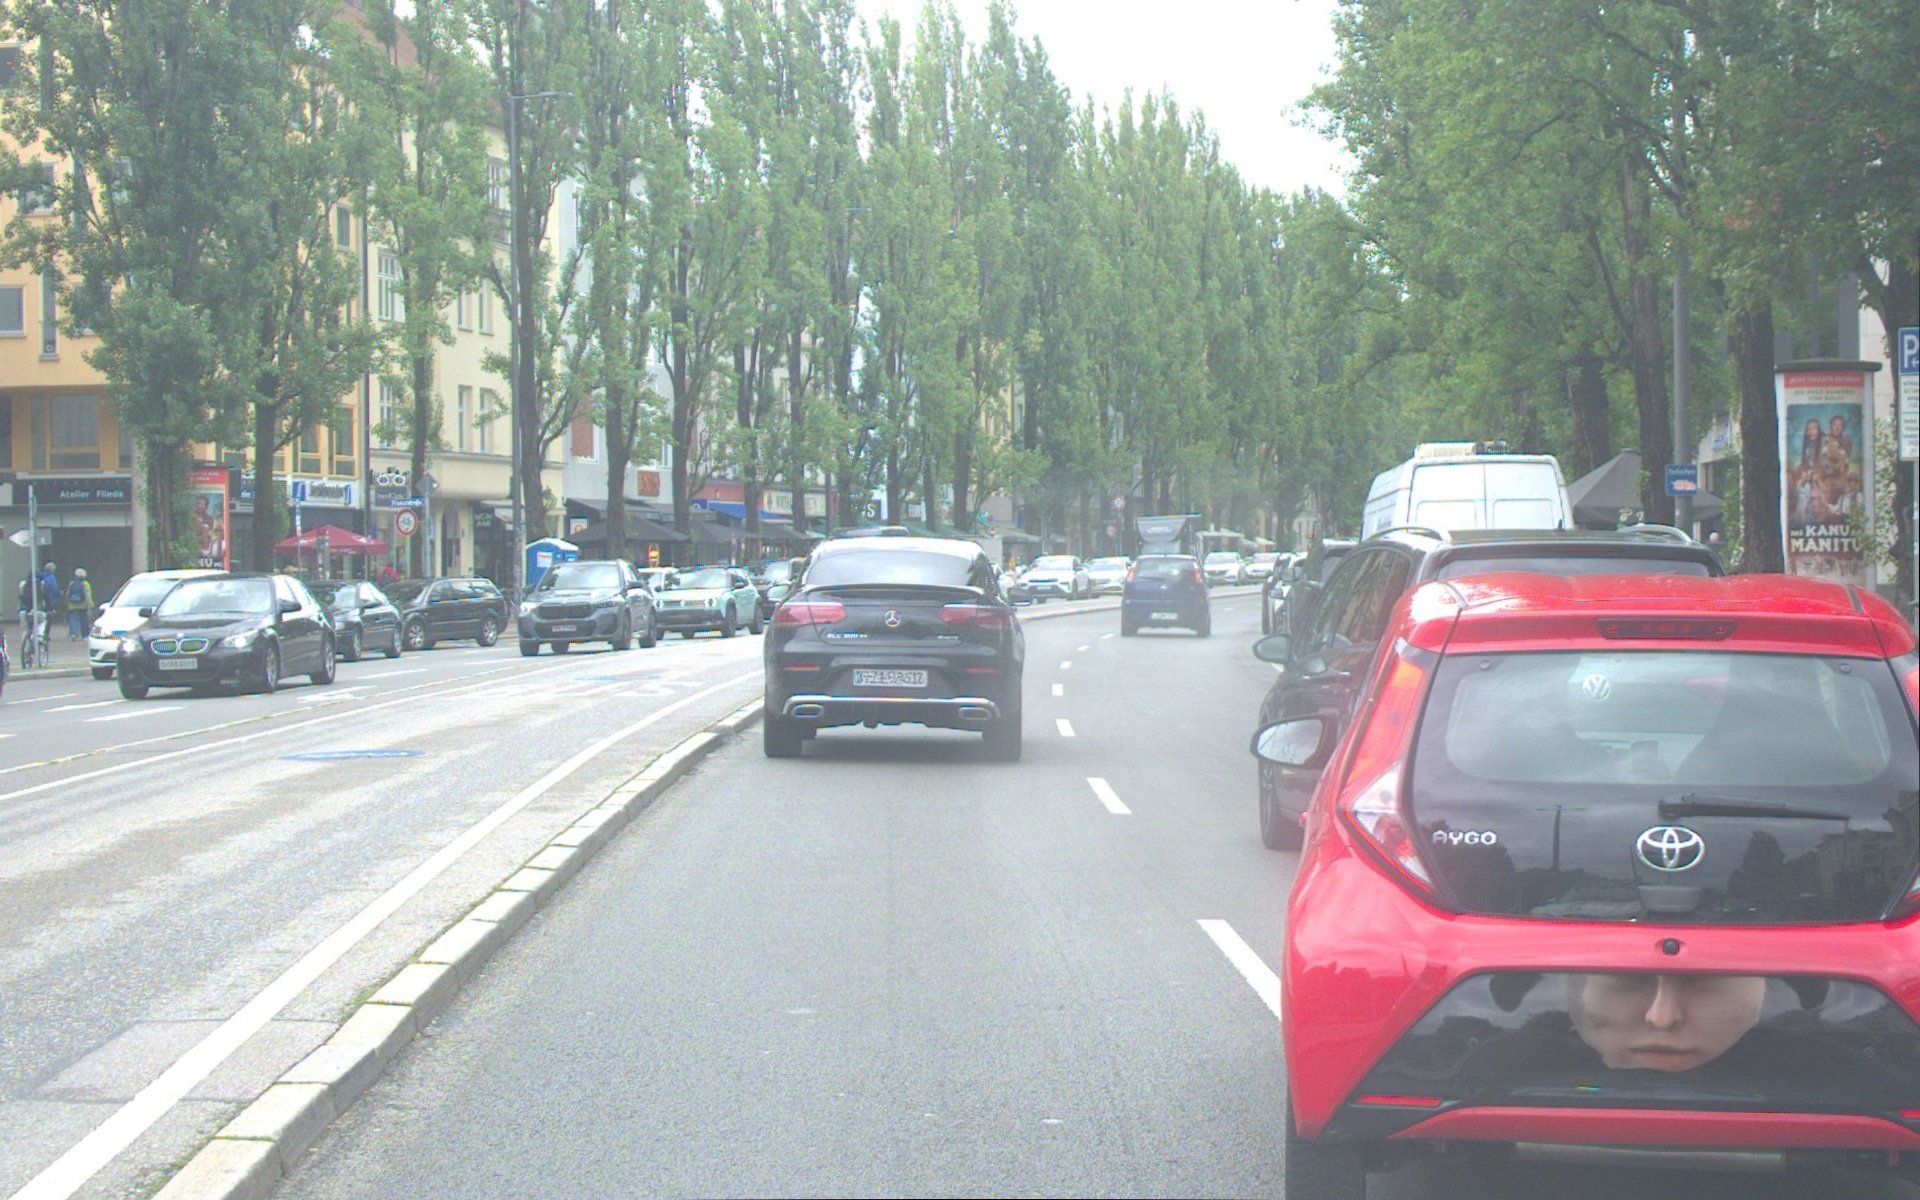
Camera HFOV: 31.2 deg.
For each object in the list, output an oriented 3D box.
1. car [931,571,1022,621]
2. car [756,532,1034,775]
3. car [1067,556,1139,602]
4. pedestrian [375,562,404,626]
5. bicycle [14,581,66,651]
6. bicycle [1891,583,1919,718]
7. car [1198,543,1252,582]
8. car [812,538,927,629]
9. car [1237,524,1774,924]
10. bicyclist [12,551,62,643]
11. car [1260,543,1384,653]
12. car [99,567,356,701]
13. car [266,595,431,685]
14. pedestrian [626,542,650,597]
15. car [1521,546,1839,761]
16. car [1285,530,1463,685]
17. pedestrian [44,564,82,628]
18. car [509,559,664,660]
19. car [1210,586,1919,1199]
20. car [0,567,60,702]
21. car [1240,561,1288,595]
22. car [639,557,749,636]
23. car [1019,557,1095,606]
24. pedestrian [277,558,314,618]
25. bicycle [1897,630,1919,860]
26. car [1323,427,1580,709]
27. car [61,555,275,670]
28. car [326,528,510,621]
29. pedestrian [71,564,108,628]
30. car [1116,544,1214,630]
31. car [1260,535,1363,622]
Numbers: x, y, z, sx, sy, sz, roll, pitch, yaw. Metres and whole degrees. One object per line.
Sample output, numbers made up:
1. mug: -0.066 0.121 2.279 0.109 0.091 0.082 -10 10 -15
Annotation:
1. car: 0.529 -0.144 103.476 1.800 1.389 4.688 -1 1 12
2. car: -0.449 0.336 25.843 1.880 1.636 4.583 -1 1 0
3. car: 5.340 -0.788 127.922 1.994 1.583 5.193 -2 1 9
4. pedestrian: -15.754 -0.164 94.973 0.539 1.741 0.755 0 1 12
5. bicycle: -16.074 0.273 60.072 0.368 1.197 1.153 -1 1 13
6. bicycle: 8.647 0.440 30.991 0.478 1.156 1.824 0 1 16
7. car: 12.234 -1.736 158.508 1.861 1.705 4.534 -2 1 12
8. car: -2.661 -0.529 102.818 2.171 2.596 6.061 -1 1 11
9. car: 2.370 0.474 15.972 1.761 1.608 4.184 0 1 -1
10. bicyclist: -16.116 -0.050 60.041 0.502 1.587 0.834 -1 1 12
11. car: 5.722 -0.061 54.747 1.727 1.680 4.408 0 1 3
12. car: -8.931 0.374 42.327 1.836 1.482 4.734 -1 1 4
13. car: -10.627 0.672 60.056 1.729 1.404 4.687 -1 1 4
14. pedestrian: -10.927 -1.053 116.709 0.638 1.855 0.647 -1 1 12
15. car: 5.362 0.343 26.082 1.725 1.449 4.147 2 1 3
16. car: 5.091 0.061 42.821 1.929 1.799 4.779 1 1 4
17. pedestrian: -20.437 -0.098 78.334 0.632 1.430 0.778 -1 1 -1
18. car: -6.431 0.126 59.698 1.994 1.615 4.413 -2 1 2
19. car: 1.527 0.698 8.701 1.665 1.441 3.596 1 0 3
20. car: -12.063 0.432 39.190 1.959 1.541 4.947 -1 1 4
21. car: 15.417 -1.121 174.121 1.940 1.636 4.461 -1 1 11
22. car: -5.708 -0.098 74.160 1.817 1.540 4.000 -3 1 3
23. car: 3.343 -0.655 117.585 1.910 1.597 4.353 -1 1 11
24. pedestrian: -17.326 -0.316 89.648 0.634 1.556 0.815 -1 1 14
25. bicycle: 5.124 0.710 15.535 1.574 1.050 0.545 5 3 37
26. car: 5.116 -0.323 36.517 1.993 2.732 5.554 1 0 1
27. car: -11.687 0.157 51.041 1.994 1.595 4.289 -1 1 3
28. car: -10.946 -0.501 69.677 1.758 1.809 3.995 1 0 24
29. pedestrian: -19.818 -0.089 78.308 0.632 1.430 0.778 -1 1 -1
30. car: 4.046 -0.250 67.395 1.759 1.614 3.746 1 0 5
31. car: 7.274 -0.432 70.843 1.925 1.694 4.648 1 0 8
